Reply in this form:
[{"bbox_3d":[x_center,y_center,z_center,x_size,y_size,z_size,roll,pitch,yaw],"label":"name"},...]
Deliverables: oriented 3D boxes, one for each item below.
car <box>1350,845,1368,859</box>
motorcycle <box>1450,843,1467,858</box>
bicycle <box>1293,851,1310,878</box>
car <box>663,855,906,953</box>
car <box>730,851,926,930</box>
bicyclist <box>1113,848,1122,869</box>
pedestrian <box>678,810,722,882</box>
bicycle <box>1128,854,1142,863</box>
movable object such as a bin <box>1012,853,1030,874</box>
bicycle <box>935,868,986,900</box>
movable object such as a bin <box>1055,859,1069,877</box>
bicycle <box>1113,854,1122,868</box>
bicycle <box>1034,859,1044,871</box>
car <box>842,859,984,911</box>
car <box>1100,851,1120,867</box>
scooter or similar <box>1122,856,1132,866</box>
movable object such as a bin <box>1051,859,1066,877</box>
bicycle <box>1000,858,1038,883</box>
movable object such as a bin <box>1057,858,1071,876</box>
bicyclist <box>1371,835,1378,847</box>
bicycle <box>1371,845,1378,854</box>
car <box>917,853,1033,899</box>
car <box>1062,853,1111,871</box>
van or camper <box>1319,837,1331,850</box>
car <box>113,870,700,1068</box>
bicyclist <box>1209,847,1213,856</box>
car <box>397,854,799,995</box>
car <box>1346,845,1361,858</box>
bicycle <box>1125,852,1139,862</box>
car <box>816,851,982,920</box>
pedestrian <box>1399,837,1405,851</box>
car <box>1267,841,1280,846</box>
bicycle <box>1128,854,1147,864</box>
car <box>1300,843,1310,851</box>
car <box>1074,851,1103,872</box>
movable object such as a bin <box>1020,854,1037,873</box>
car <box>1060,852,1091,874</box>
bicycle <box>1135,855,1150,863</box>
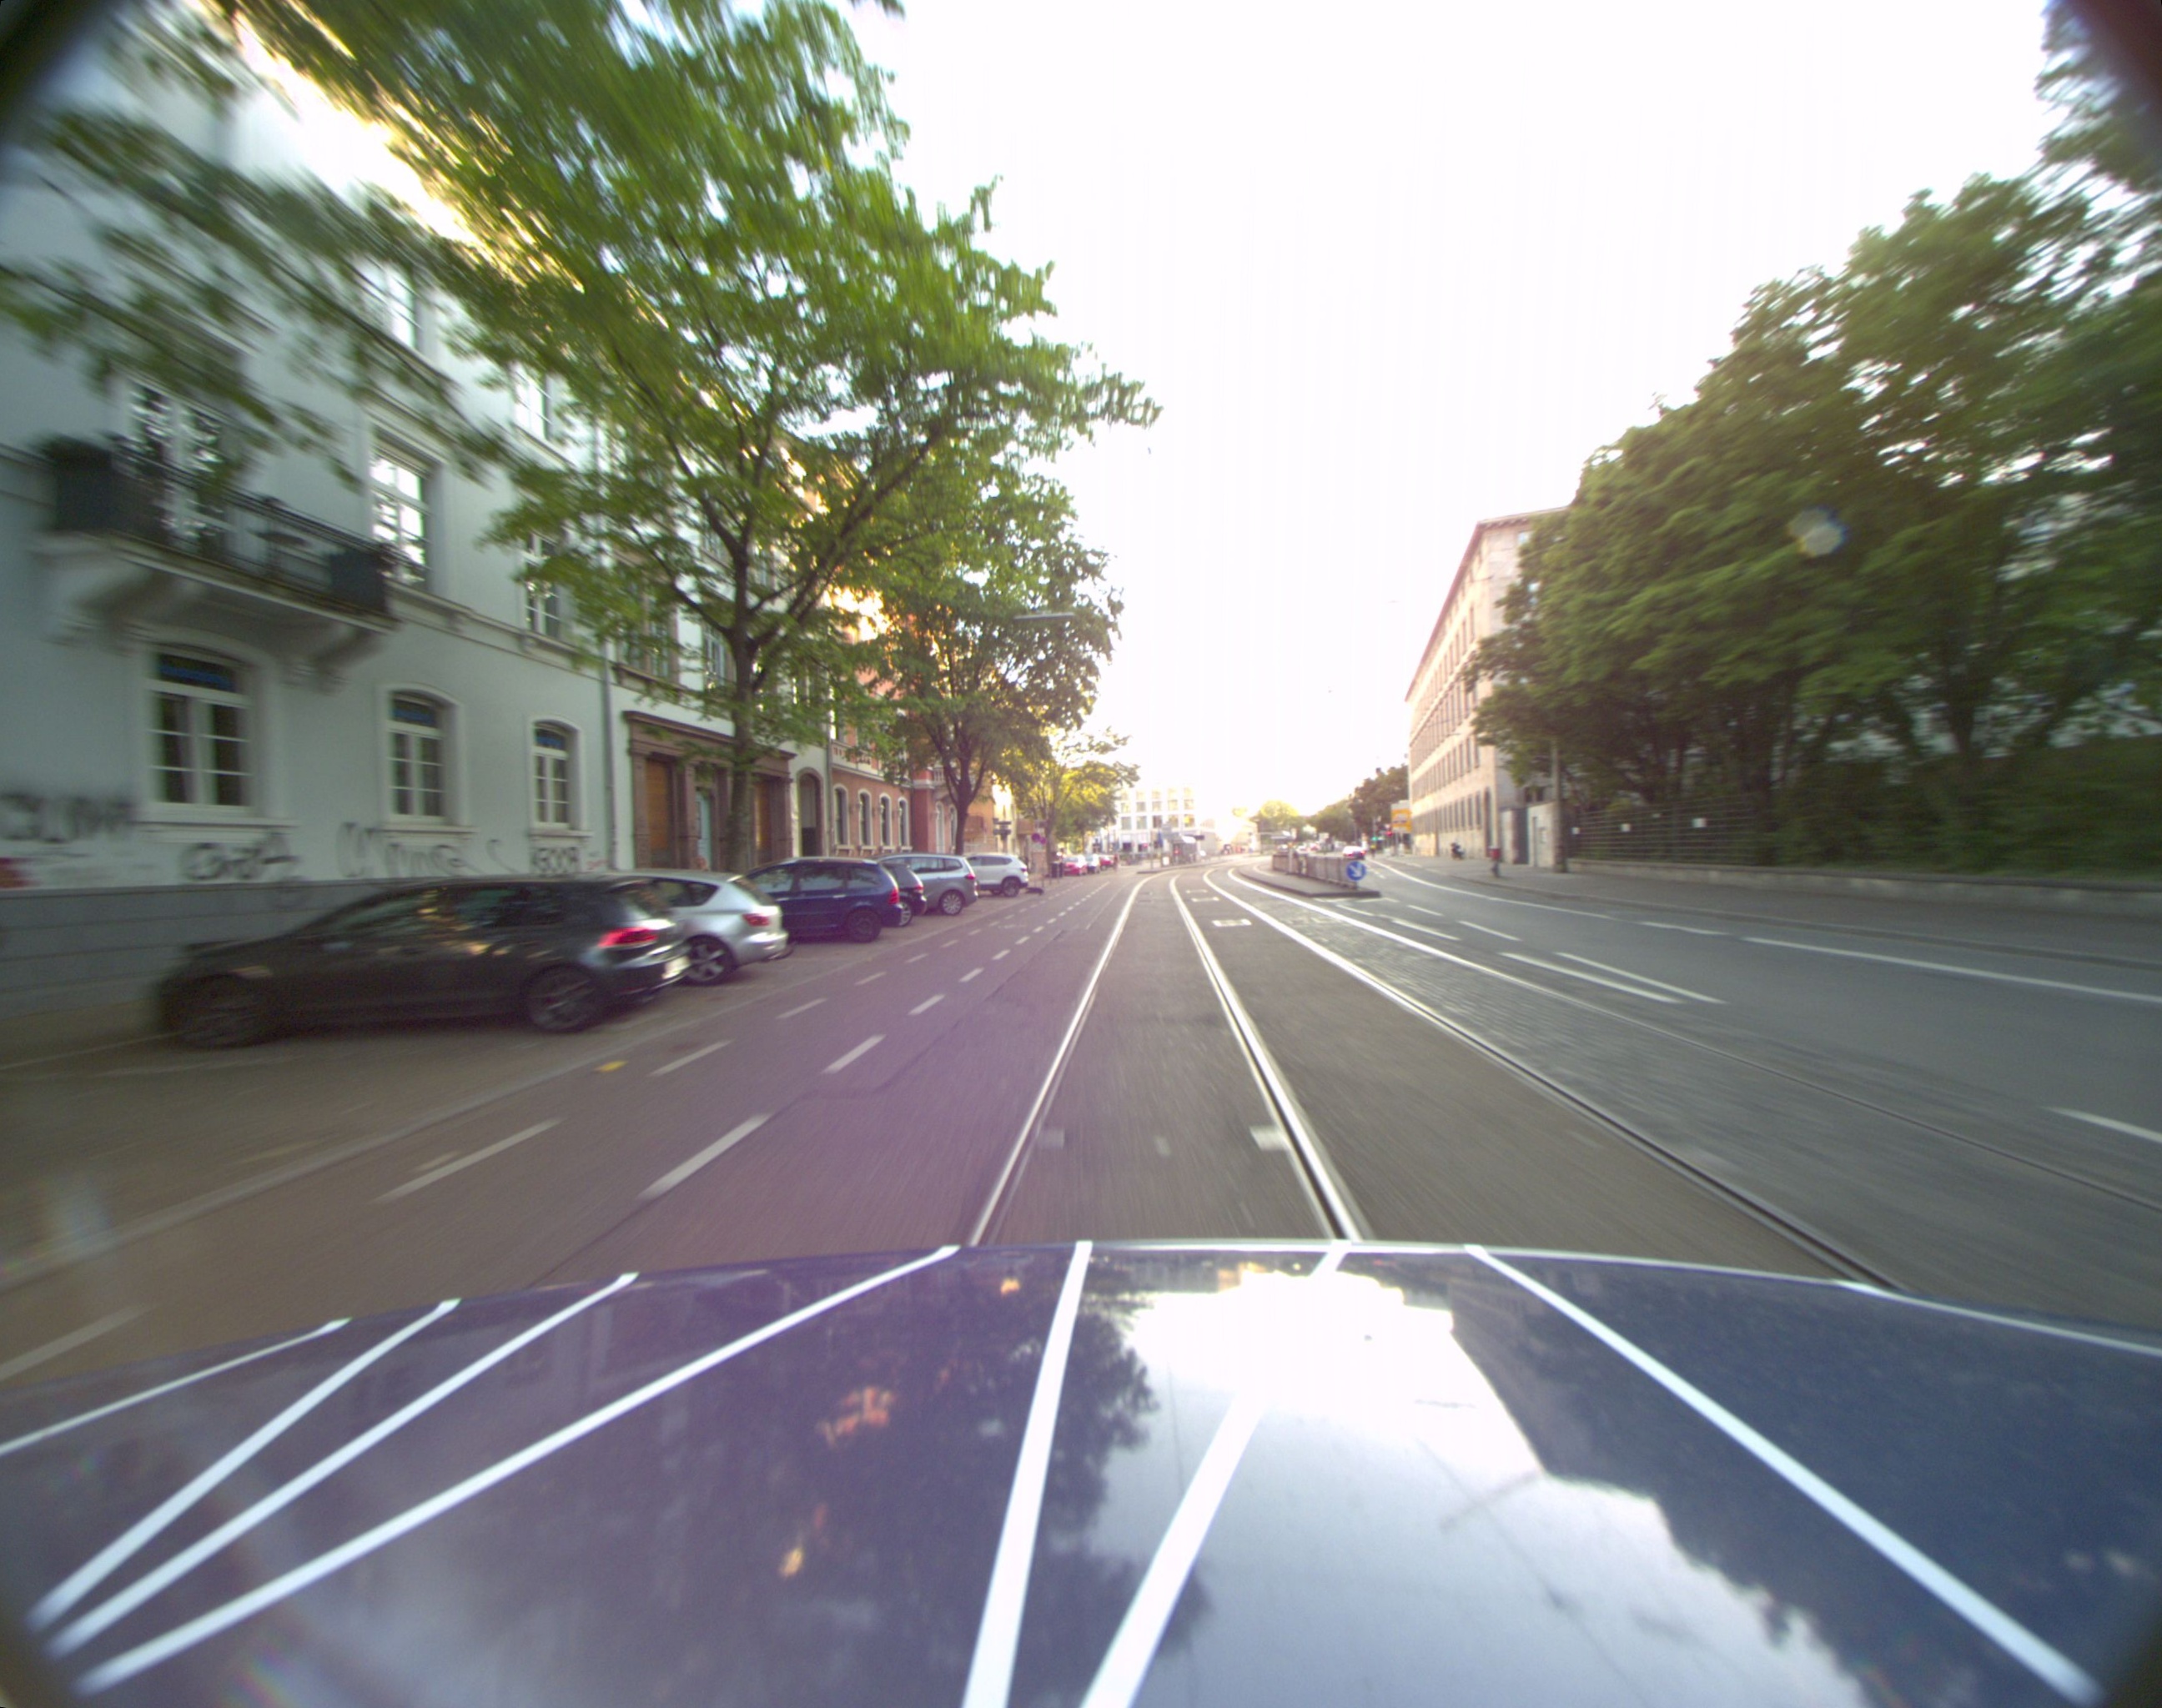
[{"bbox_3d":[30.520,-0.204,83.493,1.645,1.419,3.710,-3,0,19],"label":"car"},{"bbox_3d":[27.159,-0.269,54.680,0.699,1.068,2.657,-1,0,19],"label":"motorcycle"},{"bbox_3d":[9.163,0.405,31.623,0.463,1.069,2.023,-2,0,10],"label":"bicycle"},{"bbox_3d":[-5.491,0.886,14.218,3.961,1.594,1.836,2,0,-26],"label":"car"},{"bbox_3d":[-5.660,0.800,17.054,3.960,1.594,1.743,2,0,-24],"label":"car"},{"bbox_3d":[2.910,0.387,60.688,0.610,1.626,0.597,-2,0,2],"label":"bicyclist"},{"bbox_3d":[-8.713,-0.174,17.397,0.587,1.600,0.625,-2,1,6],"label":"pedestrian"},{"bbox_3d":[6.835,0.601,95.597,1.553,1.068,0.745,-2,0,21],"label":"bicycle"},{"bbox_3d":[-4.417,0.683,56.333,1.074,1.493,1.319,-2,0,4],"label":"movable object such as a bin"},{"bbox_3d":[-4.107,1.031,25.955,1.671,1.068,0.463,1,0,-18],"label":"bicycle"},{"bbox_3d":[-1.260,0.926,50.687,0.713,1.147,0.589,-3,0,18],"label":"movable object such as a bin"},{"bbox_3d":[2.928,0.569,60.750,0.609,1.108,2.086,-2,0,2],"label":"bicycle"},{"bbox_3d":[-3.847,0.979,69.774,0.652,1.068,1.557,-2,0,5],"label":"bicycle"},{"bbox_3d":[-5.166,0.906,23.358,3.960,1.468,1.827,0,-1,-24],"label":"car"},{"bbox_3d":[3.058,0.521,79.541,1.683,1.544,4.002,1,1,8],"label":"car"},{"bbox_3d":[5.642,0.846,93.330,1.201,1.218,0.592,0,1,19],"label":"scooter or similar"},{"bbox_3d":[-1.503,0.914,50.133,0.794,1.147,0.589,-2,0,18],"label":"movable object such as a bin"},{"bbox_3d":[-3.278,0.855,40.438,1.921,1.259,0.600,-2,1,-29],"label":"bicycle"},{"bbox_3d":[-1.163,0.891,52.200,0.624,1.147,0.714,-3,1,-41],"label":"movable object such as a bin"},{"bbox_3d":[34.770,-1.517,90.045,0.757,1.432,0.598,-2,0,19],"label":"bicyclist"},{"bbox_3d":[34.698,-0.550,89.835,0.742,1.011,1.763,-2,0,19],"label":"bicycle"},{"bbox_3d":[-3.947,0.792,28.297,3.960,1.617,1.671,0,0,-25],"label":"car"},{"bbox_3d":[0.487,0.740,70.602,4.215,1.445,1.642,-3,0,-24],"label":"car"},{"bbox_3d":[54.298,-2.269,169.172,2.107,2.665,4.718,-3,-2,21],"label":"van or camper"},{"bbox_3d":[-6.198,0.983,7.520,3.955,1.594,1.839,0,0,-9],"label":"car"},{"bbox_3d":[24.342,-0.462,142.068,0.540,1.626,0.598,-2,1,19],"label":"bicyclist"},{"bbox_3d":[-5.939,0.870,9.876,3.956,1.594,1.838,2,0,-11],"label":"car"},{"bbox_3d":[32.152,-0.347,89.664,1.644,1.419,4.238,-2,0,19],"label":"car"},{"bbox_3d":[6.311,0.405,94.244,1.528,1.156,0.745,-3,0,21],"label":"bicycle"},{"bbox_3d":[-4.838,0.771,20.255,3.961,1.659,1.897,0,1,-27],"label":"car"},{"bbox_3d":[41.705,-1.292,98.703,0.696,1.700,0.647,-2,1,22],"label":"pedestrian"},{"bbox_3d":[61.242,-3.380,241.920,3.801,1.639,1.866,-2,0,19],"label":"car"},{"bbox_3d":[7.283,0.646,97.727,2.232,1.125,0.745,-1,1,21],"label":"bicycle"},{"bbox_3d":[44.168,-1.395,149.624,1.695,1.412,4.179,-2,0,19],"label":"car"},{"bbox_3d":[0.662,0.549,60.921,1.746,1.622,4.091,0,1,9],"label":"car"},{"bbox_3d":[-4.293,0.756,62.414,1.115,1.493,1.482,-2,0,5],"label":"movable object such as a bin"},{"bbox_3d":[-0.341,0.618,54.997,1.567,1.527,3.696,0,1,11],"label":"car"},{"bbox_3d":[7.955,0.651,98.560,1.861,1.068,0.745,-2,0,37],"label":"bicycle"}]
